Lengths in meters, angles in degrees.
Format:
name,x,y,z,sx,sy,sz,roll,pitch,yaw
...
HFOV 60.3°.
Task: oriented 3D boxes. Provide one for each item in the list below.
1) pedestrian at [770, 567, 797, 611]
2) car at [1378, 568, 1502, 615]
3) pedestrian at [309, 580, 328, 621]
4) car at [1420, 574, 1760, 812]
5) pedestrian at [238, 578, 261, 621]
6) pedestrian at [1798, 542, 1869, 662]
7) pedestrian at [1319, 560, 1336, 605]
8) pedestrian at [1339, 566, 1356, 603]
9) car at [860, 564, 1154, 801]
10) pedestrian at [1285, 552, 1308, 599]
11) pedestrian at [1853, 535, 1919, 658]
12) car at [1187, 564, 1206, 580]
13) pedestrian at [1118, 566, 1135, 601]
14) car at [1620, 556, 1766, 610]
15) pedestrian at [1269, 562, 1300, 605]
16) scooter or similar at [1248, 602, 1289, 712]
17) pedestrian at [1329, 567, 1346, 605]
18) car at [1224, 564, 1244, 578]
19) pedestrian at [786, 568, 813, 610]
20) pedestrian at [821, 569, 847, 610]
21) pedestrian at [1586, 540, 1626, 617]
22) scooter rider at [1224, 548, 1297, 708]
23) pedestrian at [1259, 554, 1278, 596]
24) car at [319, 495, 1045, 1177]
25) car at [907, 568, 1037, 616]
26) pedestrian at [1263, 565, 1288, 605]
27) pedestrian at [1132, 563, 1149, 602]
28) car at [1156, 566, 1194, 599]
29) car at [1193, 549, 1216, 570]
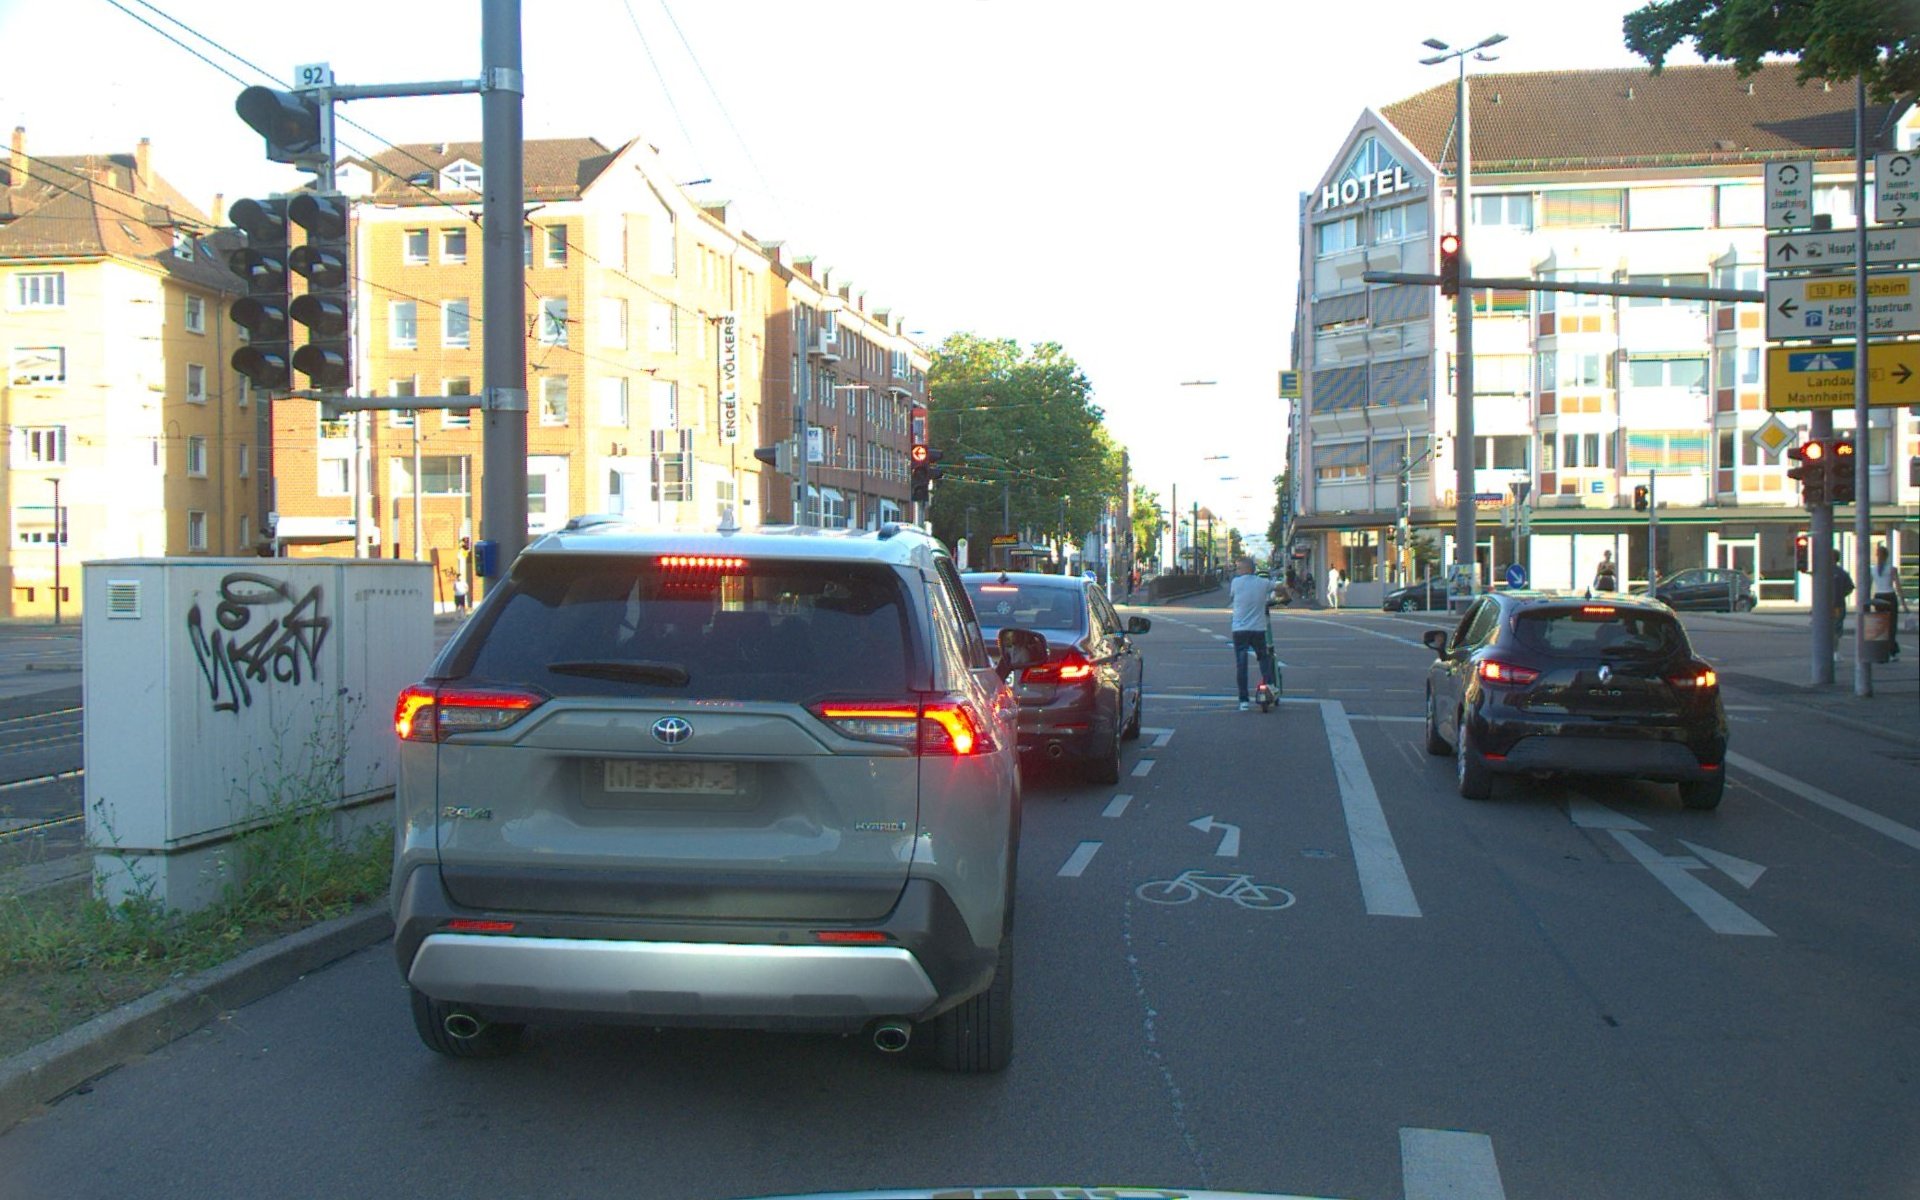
name,x,y,z,sx,sy,sz,roll,pitch,yaw
pedestrian,-8.401,-0.522,78.784,1.070,2.048,0.909,1,1,8
car,16.668,-0.307,57.600,3.902,1.502,2.002,1,1,9
pedestrian,-26.627,0.016,68.650,0.539,1.671,0.501,1,1,9
car,4.575,0.558,12.591,1.726,1.465,4.004,1,1,11
pedestrian,-29.317,-0.030,68.247,0.652,1.773,0.690,1,0,0
pedestrian,13.911,0.022,26.335,0.716,1.862,0.991,2,1,43
pedestrian,14.898,-0.699,67.017,0.487,1.805,0.471,-1,1,-27
pedestrian,15.807,-0.632,67.505,0.487,1.529,0.471,-1,1,-27
car,0.553,0.489,13.077,1.707,1.486,4.414,1,2,9
pedestrian,17.308,-1.249,85.049,1.061,2.406,1.057,1,1,12
pedestrian,14.461,-0.058,25.731,0.716,1.862,0.991,2,1,44
car,28.952,-3.451,202.616,1.951,1.892,4.004,0,1,13
pedestrian,8.082,-0.790,80.262,0.686,1.693,0.809,1,1,12
car,24.989,-0.579,56.525,4.144,1.725,2.002,1,1,9
pedestrian,13.465,-0.671,68.568,0.922,1.756,0.844,1,1,-30
scooter or similar,3.322,0.592,17.768,0.273,1.109,1.258,1,1,17
pedestrian,15.366,-0.587,67.267,0.487,1.529,0.471,-1,1,-27
car,27.897,-2.946,168.656,1.951,1.333,4.004,0,1,9
pedestrian,-7.835,-0.536,80.593,1.070,2.048,0.909,1,1,8
pedestrian,-6.383,-0.549,83.816,1.070,2.048,1.164,1,1,8
pedestrian,15.319,-0.509,39.252,0.730,1.809,0.801,1,1,13
scooter rider,3.245,0.289,17.841,0.648,1.675,0.661,1,1,19
pedestrian,16.411,-1.335,87.955,0.912,2.234,0.853,1,1,8
car,-0.627,0.517,6.147,1.797,1.664,4.092,1,2,2
car,0.471,-0.307,59.666,4.455,1.648,2.000,1,1,8
pedestrian,13.243,-0.645,69.465,0.712,1.652,0.765,-1,1,-27
pedestrian,8.701,-0.860,79.815,0.686,1.854,0.809,1,1,12
car,12.096,-1.007,92.880,1.773,1.777,3.718,1,1,12
car,23.396,-3.825,158.279,1.951,1.933,4.004,1,1,12
